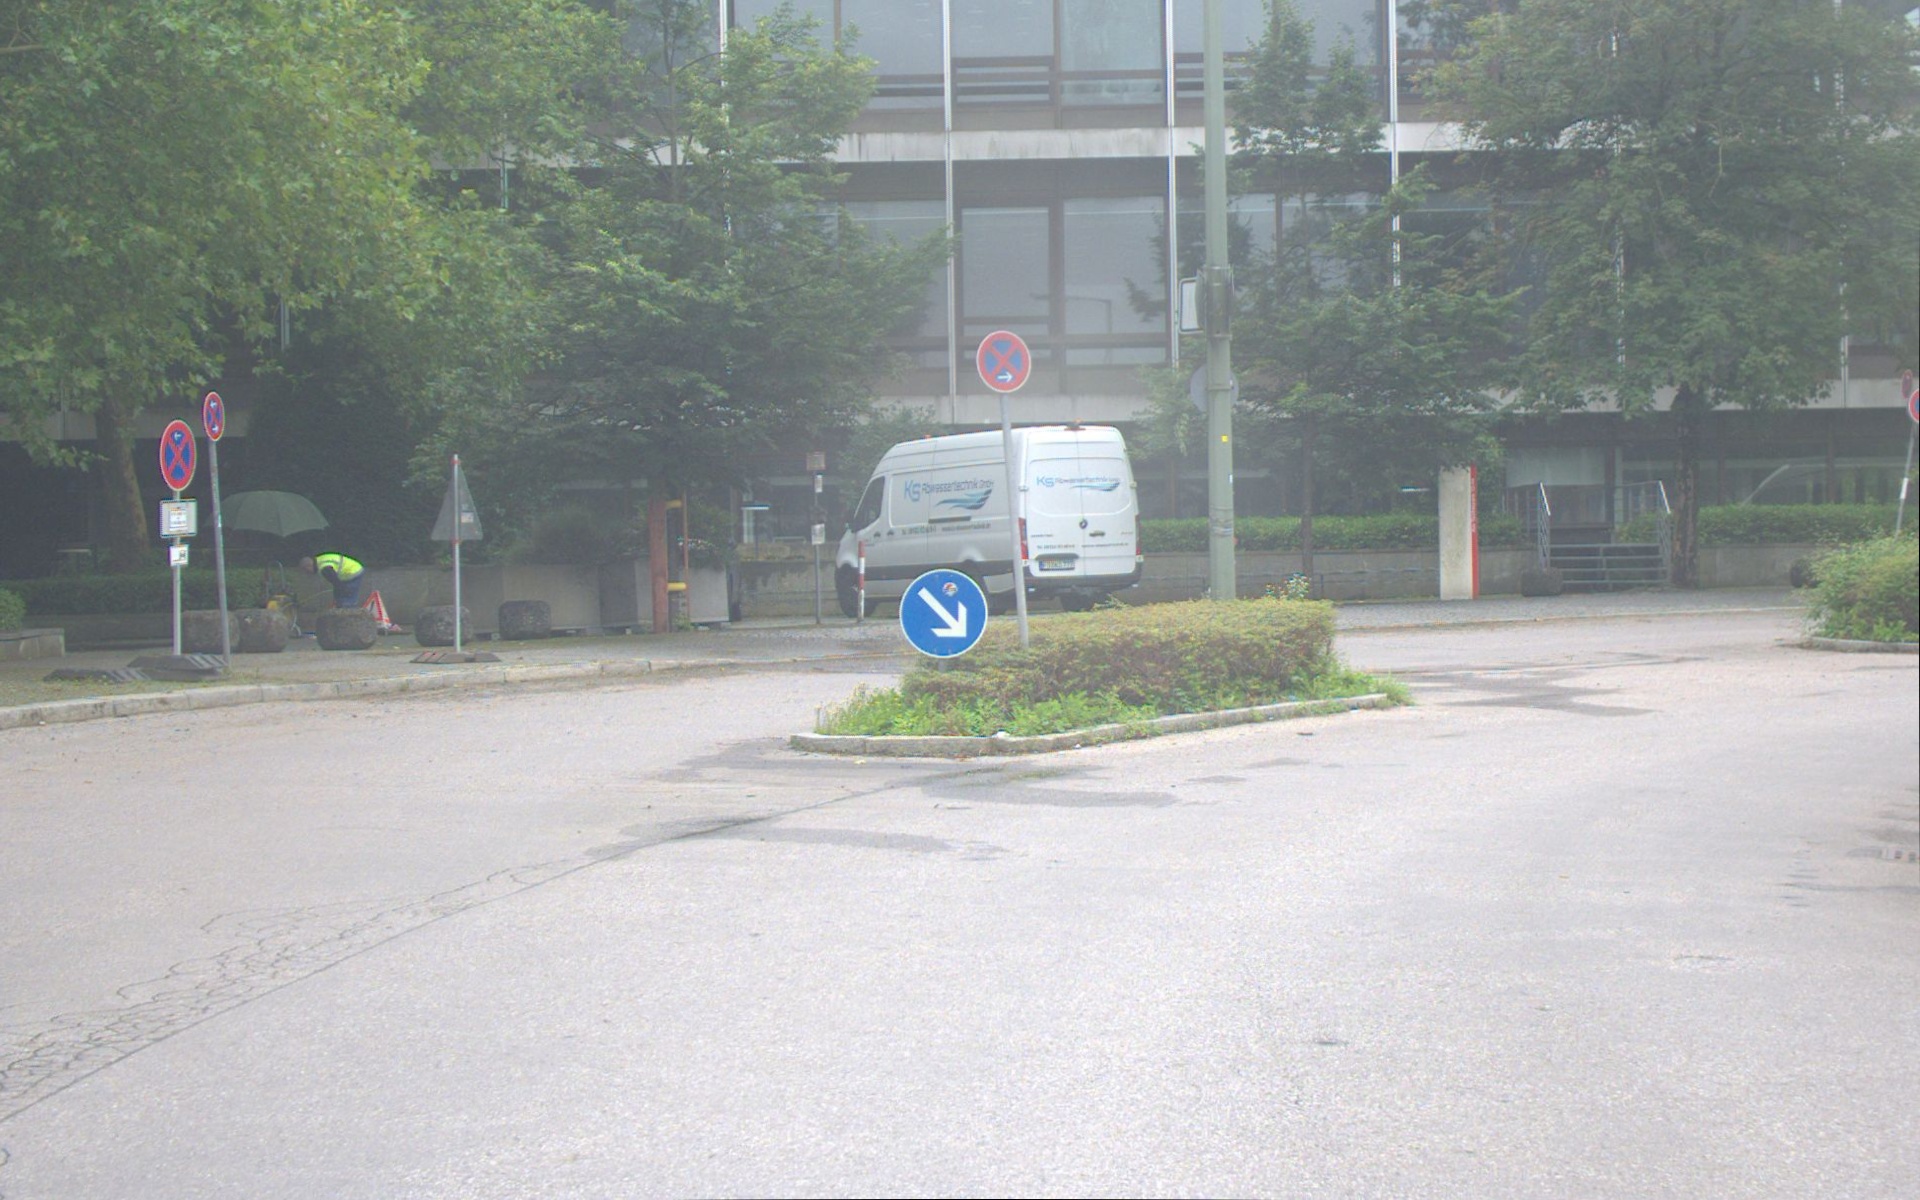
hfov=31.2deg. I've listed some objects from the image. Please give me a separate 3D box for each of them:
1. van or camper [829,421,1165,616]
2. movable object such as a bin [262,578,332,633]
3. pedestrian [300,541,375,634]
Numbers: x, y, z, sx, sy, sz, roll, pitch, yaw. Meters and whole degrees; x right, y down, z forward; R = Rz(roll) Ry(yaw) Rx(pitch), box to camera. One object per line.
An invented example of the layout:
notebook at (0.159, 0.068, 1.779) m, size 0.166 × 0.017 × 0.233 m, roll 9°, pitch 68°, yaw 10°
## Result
van or camper at (0.417, -1.107, 49.931) m, size 2.155 × 2.572 × 6.540 m, roll -1°, pitch 0°, yaw -26°
movable object such as a bin at (-9.221, 0.077, 47.806) m, size 0.834 × 0.751 × 0.572 m, roll -1°, pitch 1°, yaw 3°
pedestrian at (-8.657, -0.179, 47.835) m, size 0.926 × 1.273 × 0.542 m, roll -1°, pitch 1°, yaw 2°
